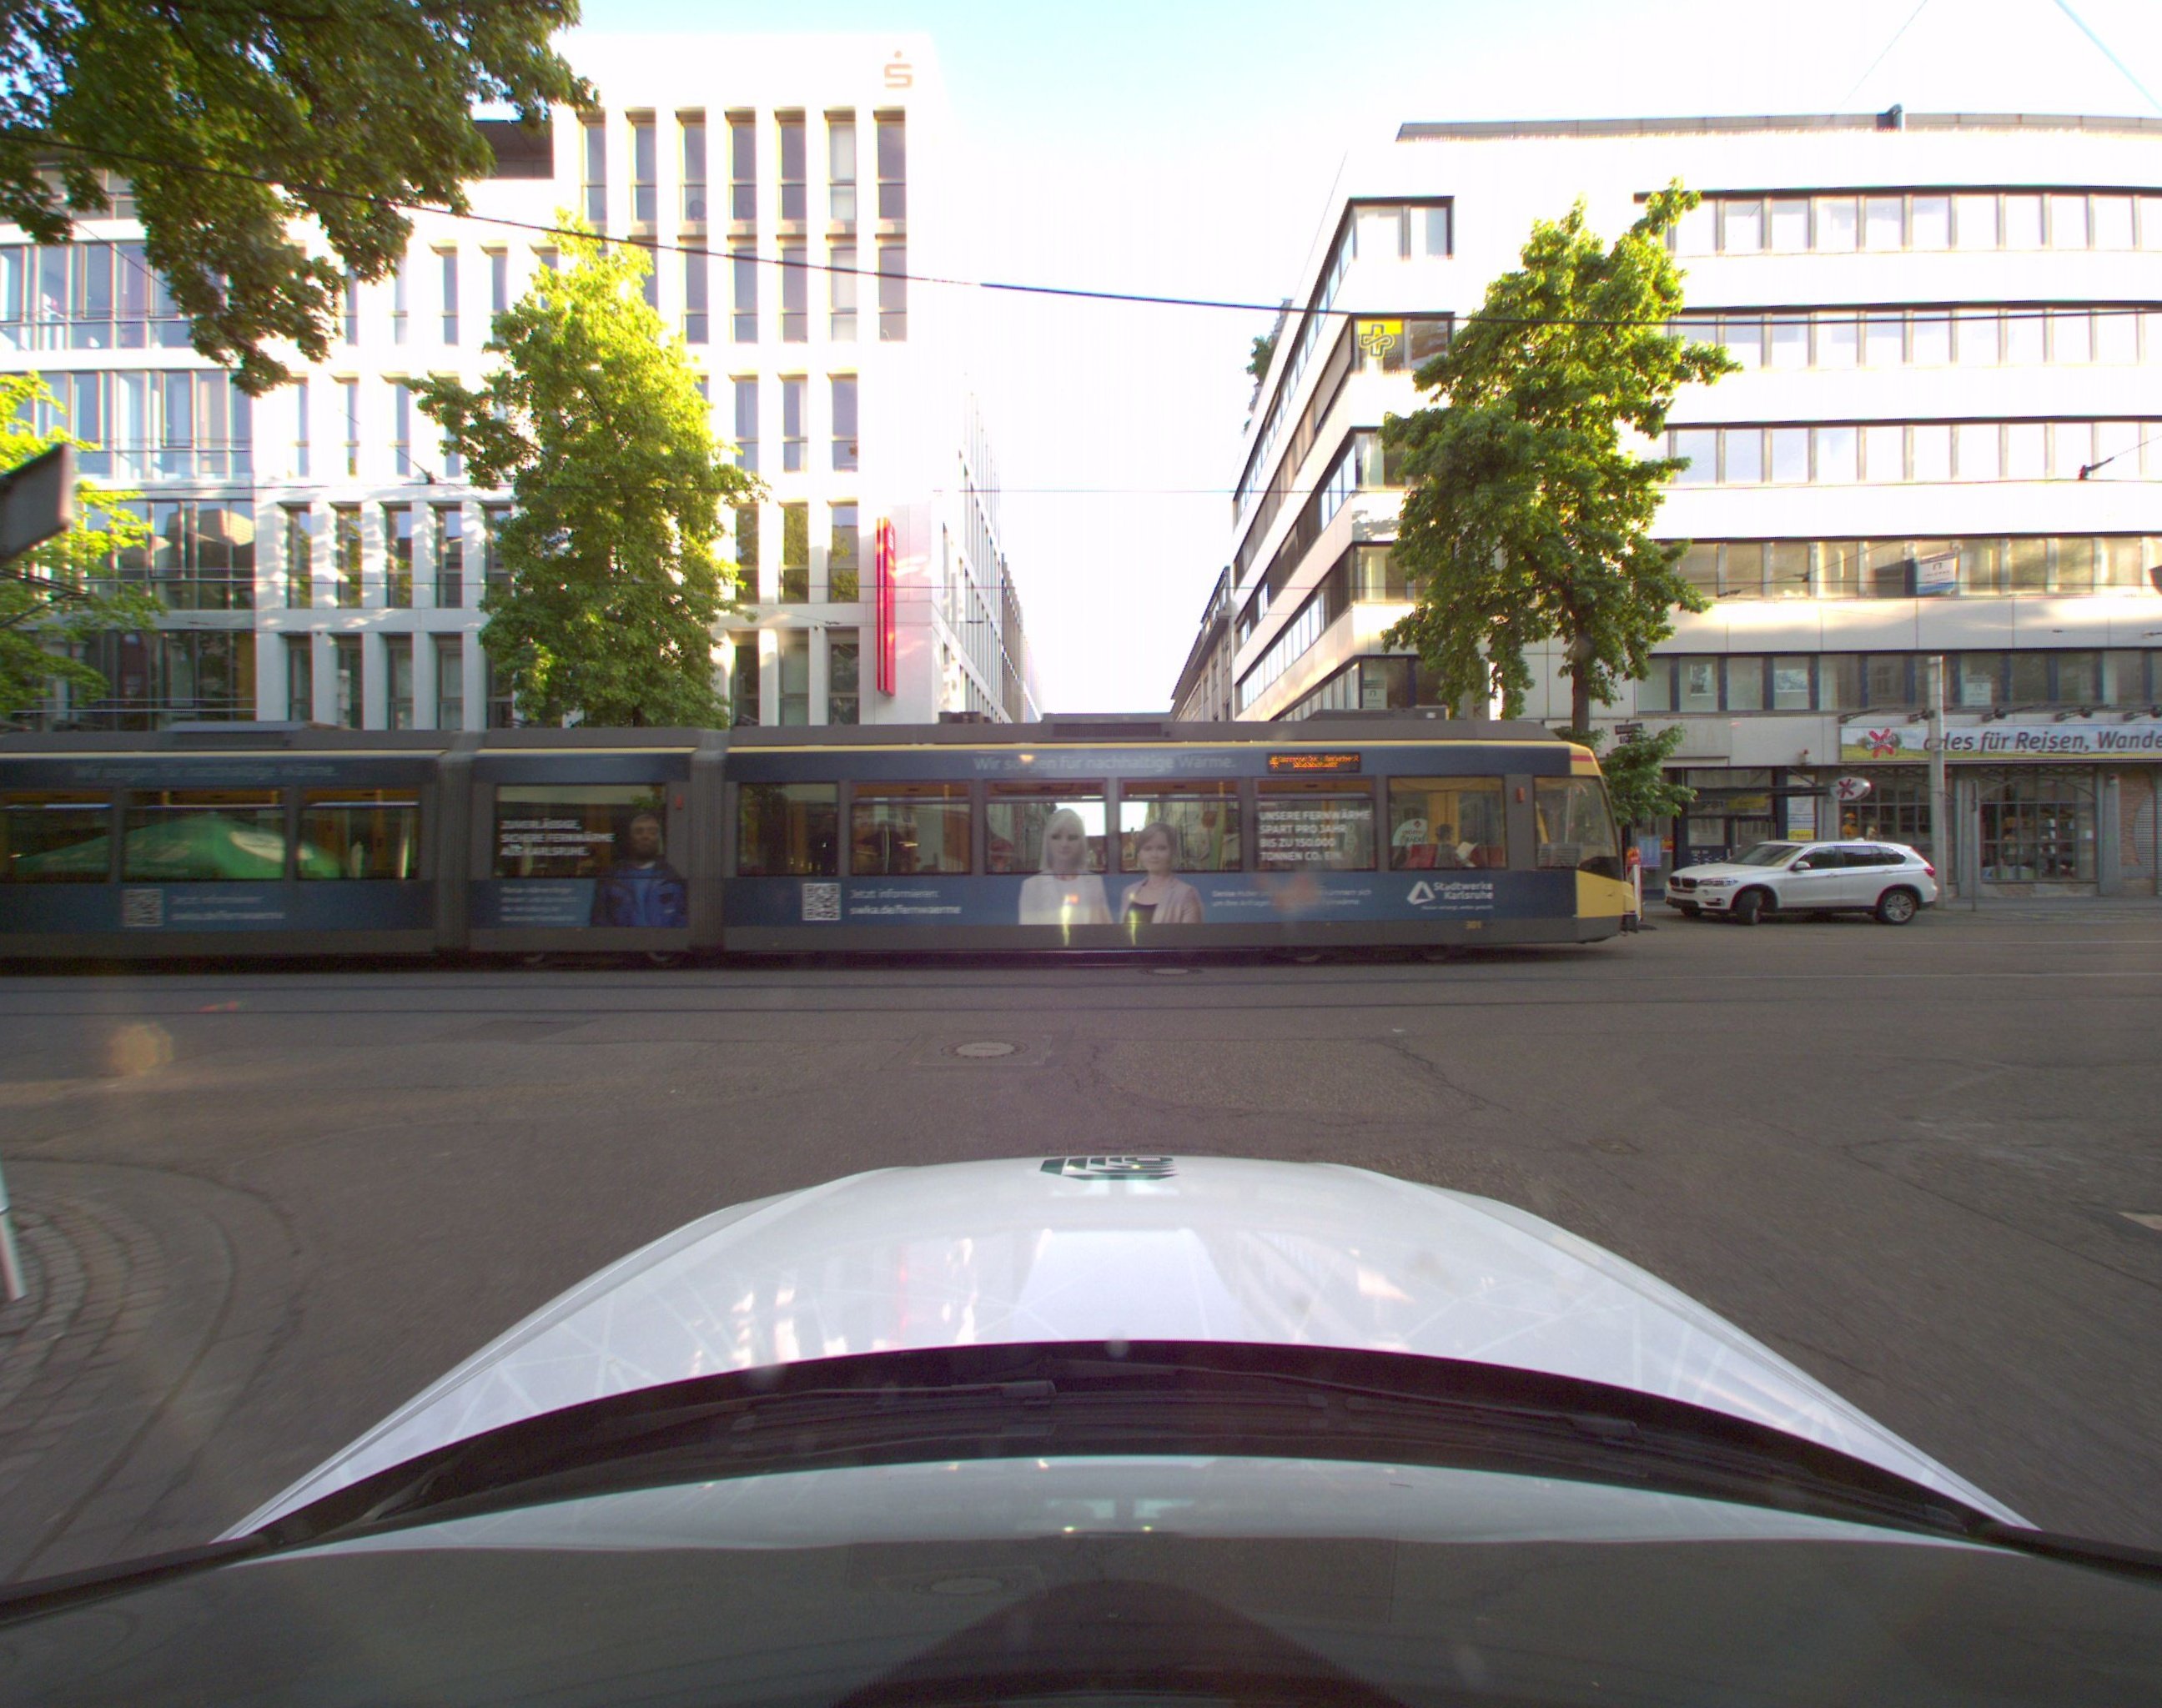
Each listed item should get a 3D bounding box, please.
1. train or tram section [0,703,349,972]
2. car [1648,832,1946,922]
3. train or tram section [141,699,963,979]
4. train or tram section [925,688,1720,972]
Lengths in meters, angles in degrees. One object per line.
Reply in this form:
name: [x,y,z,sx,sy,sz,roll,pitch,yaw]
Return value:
train or tram section: [-17.795,-0.139,12.293,10.771,3.524,3.013,-1,-1,0]
car: [15.299,0.450,17.635,4.635,1.770,2.002,0,2,2]
train or tram section: [-7.203,-0.184,12.223,10.331,3.524,3.017,-1,-1,0]
train or tram section: [3.171,-0.306,12.163,10.300,3.523,3.027,-1,0,0]
